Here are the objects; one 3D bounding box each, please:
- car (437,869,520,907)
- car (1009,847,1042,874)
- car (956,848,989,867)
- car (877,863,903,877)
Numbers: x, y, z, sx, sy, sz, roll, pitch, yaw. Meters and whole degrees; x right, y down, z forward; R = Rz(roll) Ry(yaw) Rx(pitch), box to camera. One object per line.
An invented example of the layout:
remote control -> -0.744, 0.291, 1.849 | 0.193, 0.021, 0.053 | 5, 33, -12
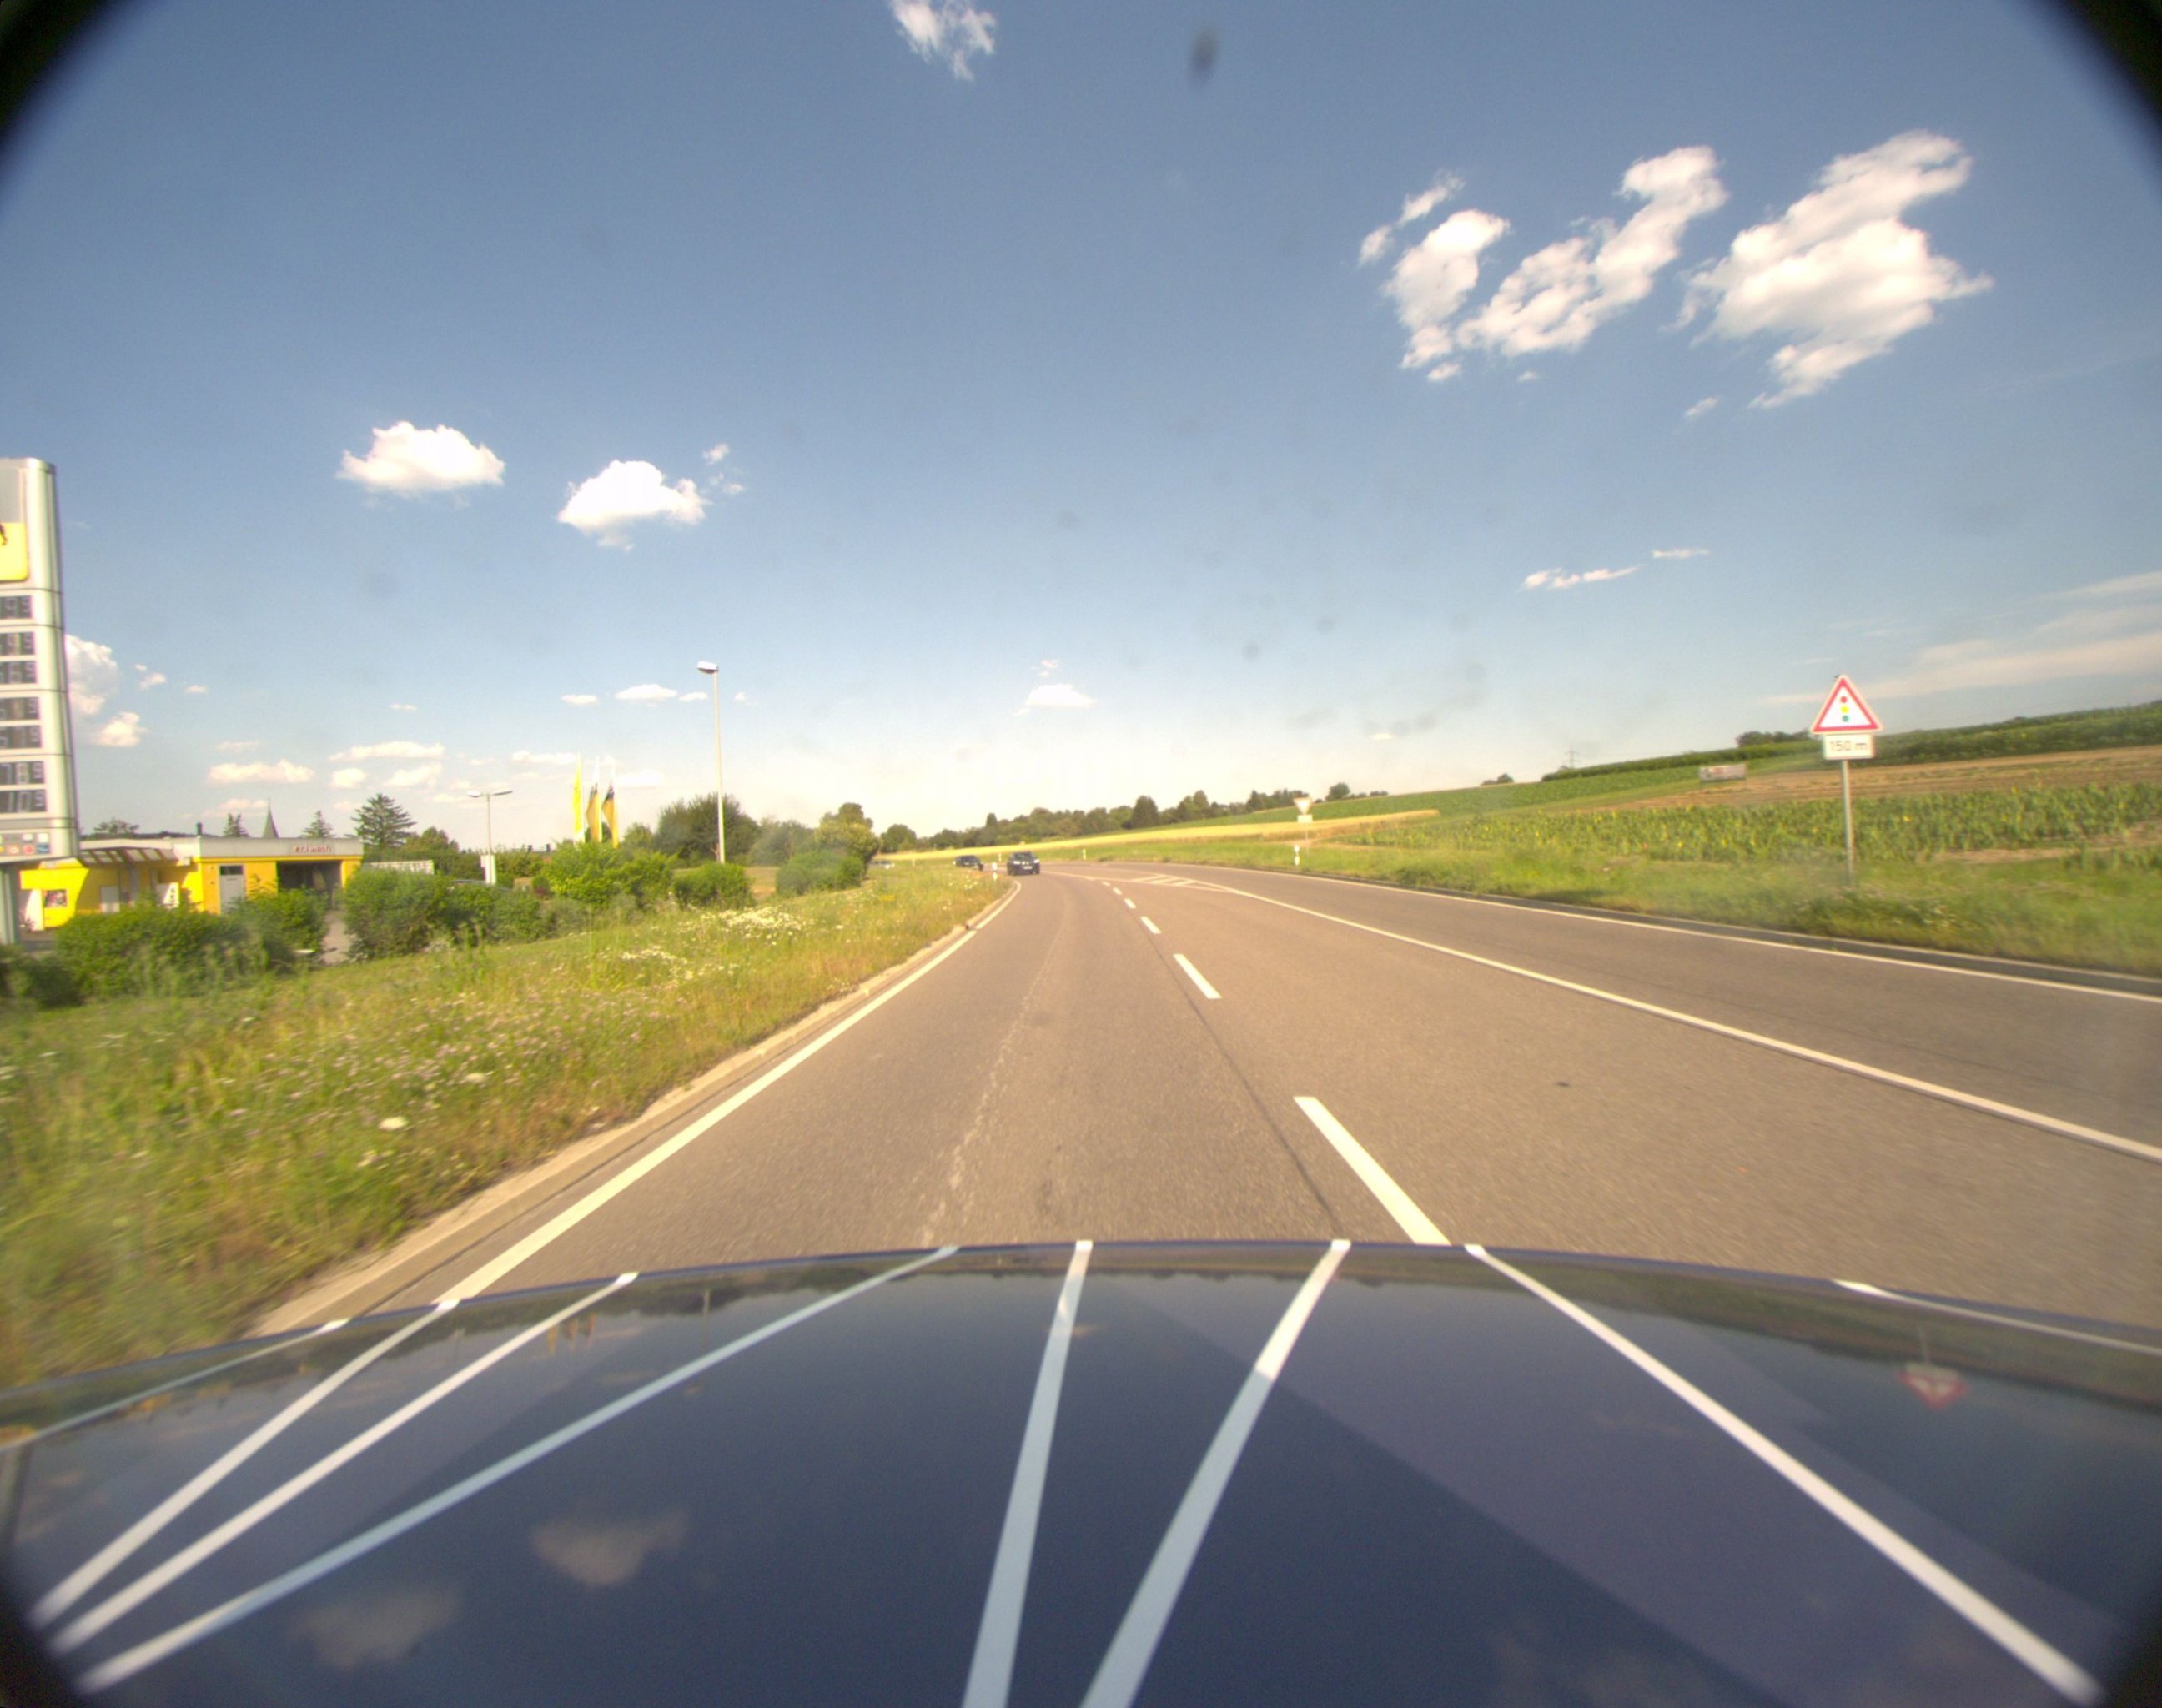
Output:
car -> -39.841, 2.219, 50.334 | 3.691, 2.103, 1.918 | -5, 2, -15
car -> -3.935, 0.403, 53.636 | 1.789, 1.620, 4.464 | -5, 2, -9
car -> -10.205, 0.310, 70.889 | 1.778, 1.604, 4.538 | -6, 2, -23
car -> -22.225, 1.859, 88.255 | 2.744, 1.498, 1.526 | -3, 3, 40
